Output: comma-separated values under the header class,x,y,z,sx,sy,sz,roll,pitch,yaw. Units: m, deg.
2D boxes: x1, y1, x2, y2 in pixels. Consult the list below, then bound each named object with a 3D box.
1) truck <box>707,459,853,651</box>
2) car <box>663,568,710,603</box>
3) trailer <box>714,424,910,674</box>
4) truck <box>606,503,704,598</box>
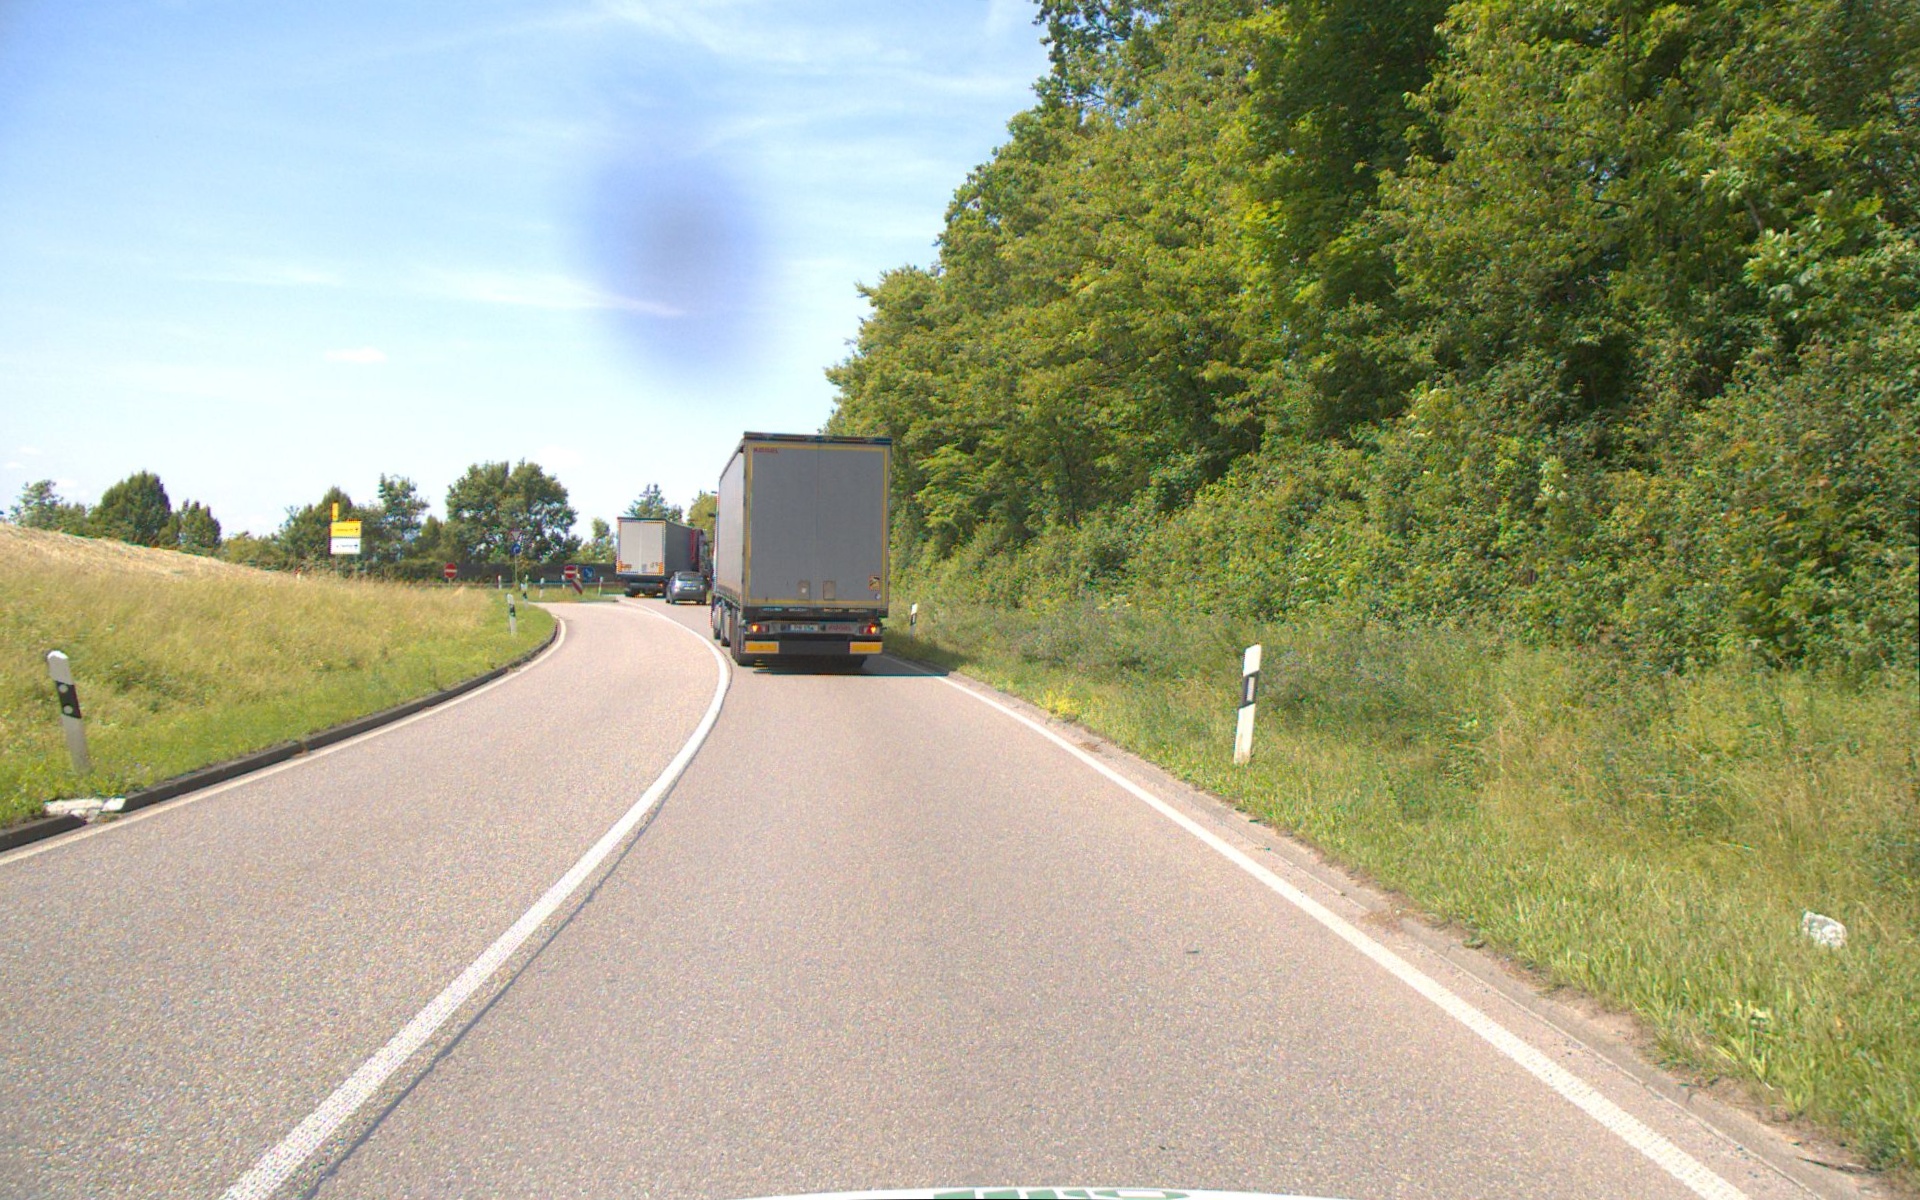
class,x,y,z,sx,sy,sz,roll,pitch,yaw
truck,-4.623,-1.009,41.138,3.095,4.298,7.105,1,0,-10
car,-12.584,-0.669,75.916,1.639,1.512,3.982,1,1,-17
trailer,-3.431,-0.866,34.241,2.971,4.105,13.322,1,0,-9
truck,-16.917,-2.639,93.034,3.753,4.827,16.188,1,1,-5
